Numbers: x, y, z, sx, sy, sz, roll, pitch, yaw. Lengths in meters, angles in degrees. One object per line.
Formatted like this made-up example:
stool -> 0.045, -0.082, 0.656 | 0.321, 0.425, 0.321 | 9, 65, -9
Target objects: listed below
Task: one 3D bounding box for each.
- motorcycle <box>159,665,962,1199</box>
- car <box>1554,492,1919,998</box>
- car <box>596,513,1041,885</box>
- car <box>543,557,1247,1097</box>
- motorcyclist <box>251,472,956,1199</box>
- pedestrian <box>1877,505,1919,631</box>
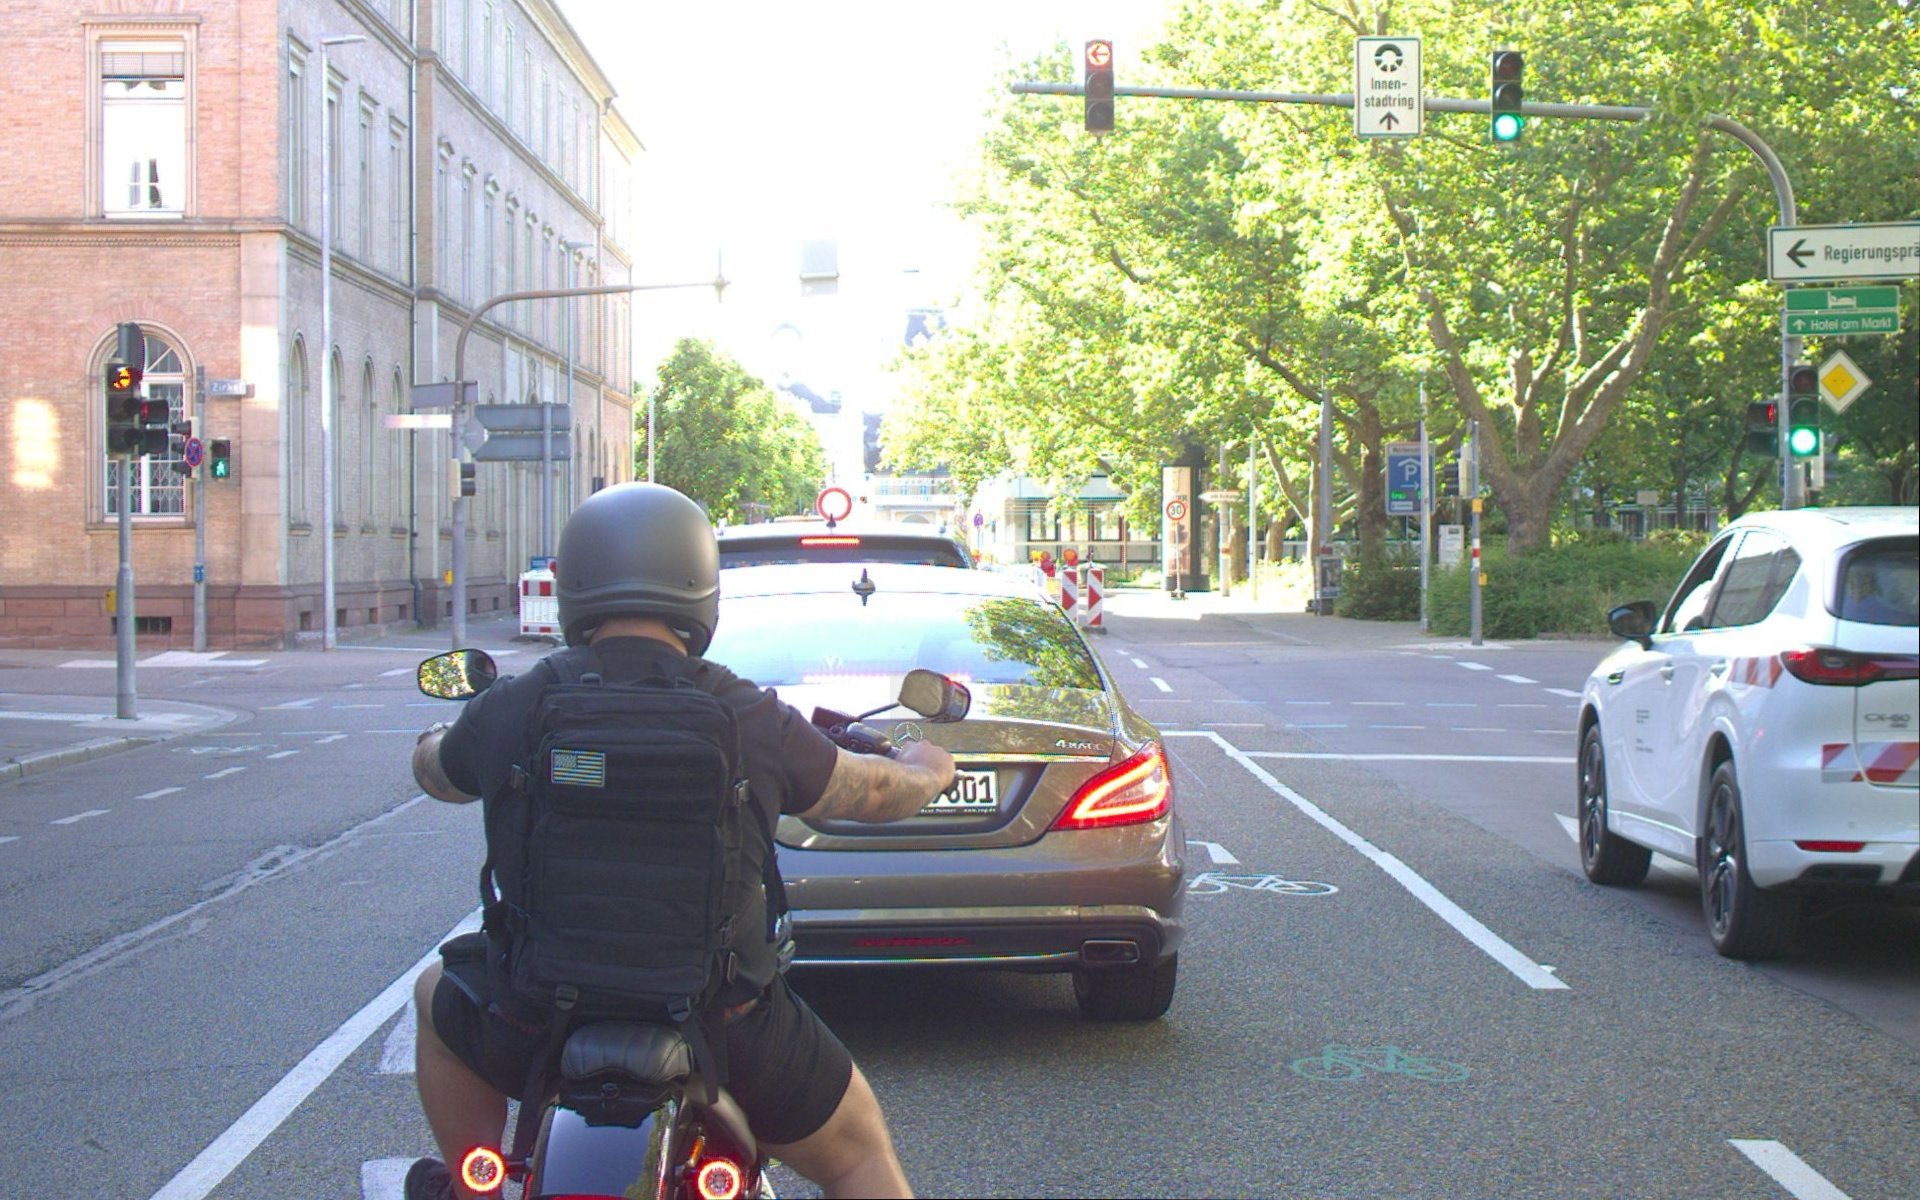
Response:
motorcycle -> -0.501, 0.782, 5.410 | 0.980, 1.271, 2.407 | 0, 1, -1
car -> 3.742, 0.461, 13.872 | 1.943, 1.702, 4.483 | 1, 1, 1
car -> -0.665, 0.429, 17.567 | 1.993, 1.660, 4.000 | 1, 1, -1
car -> -0.431, 0.587, 11.645 | 1.869, 1.439, 4.431 | 0, 1, -8
motorcyclist -> -0.502, 0.596, 5.418 | 0.980, 1.573, 1.248 | 0, 1, -1
pedestrian -> 13.392, -0.452, 48.611 | 0.678, 1.766, 0.616 | 1, 0, 29
